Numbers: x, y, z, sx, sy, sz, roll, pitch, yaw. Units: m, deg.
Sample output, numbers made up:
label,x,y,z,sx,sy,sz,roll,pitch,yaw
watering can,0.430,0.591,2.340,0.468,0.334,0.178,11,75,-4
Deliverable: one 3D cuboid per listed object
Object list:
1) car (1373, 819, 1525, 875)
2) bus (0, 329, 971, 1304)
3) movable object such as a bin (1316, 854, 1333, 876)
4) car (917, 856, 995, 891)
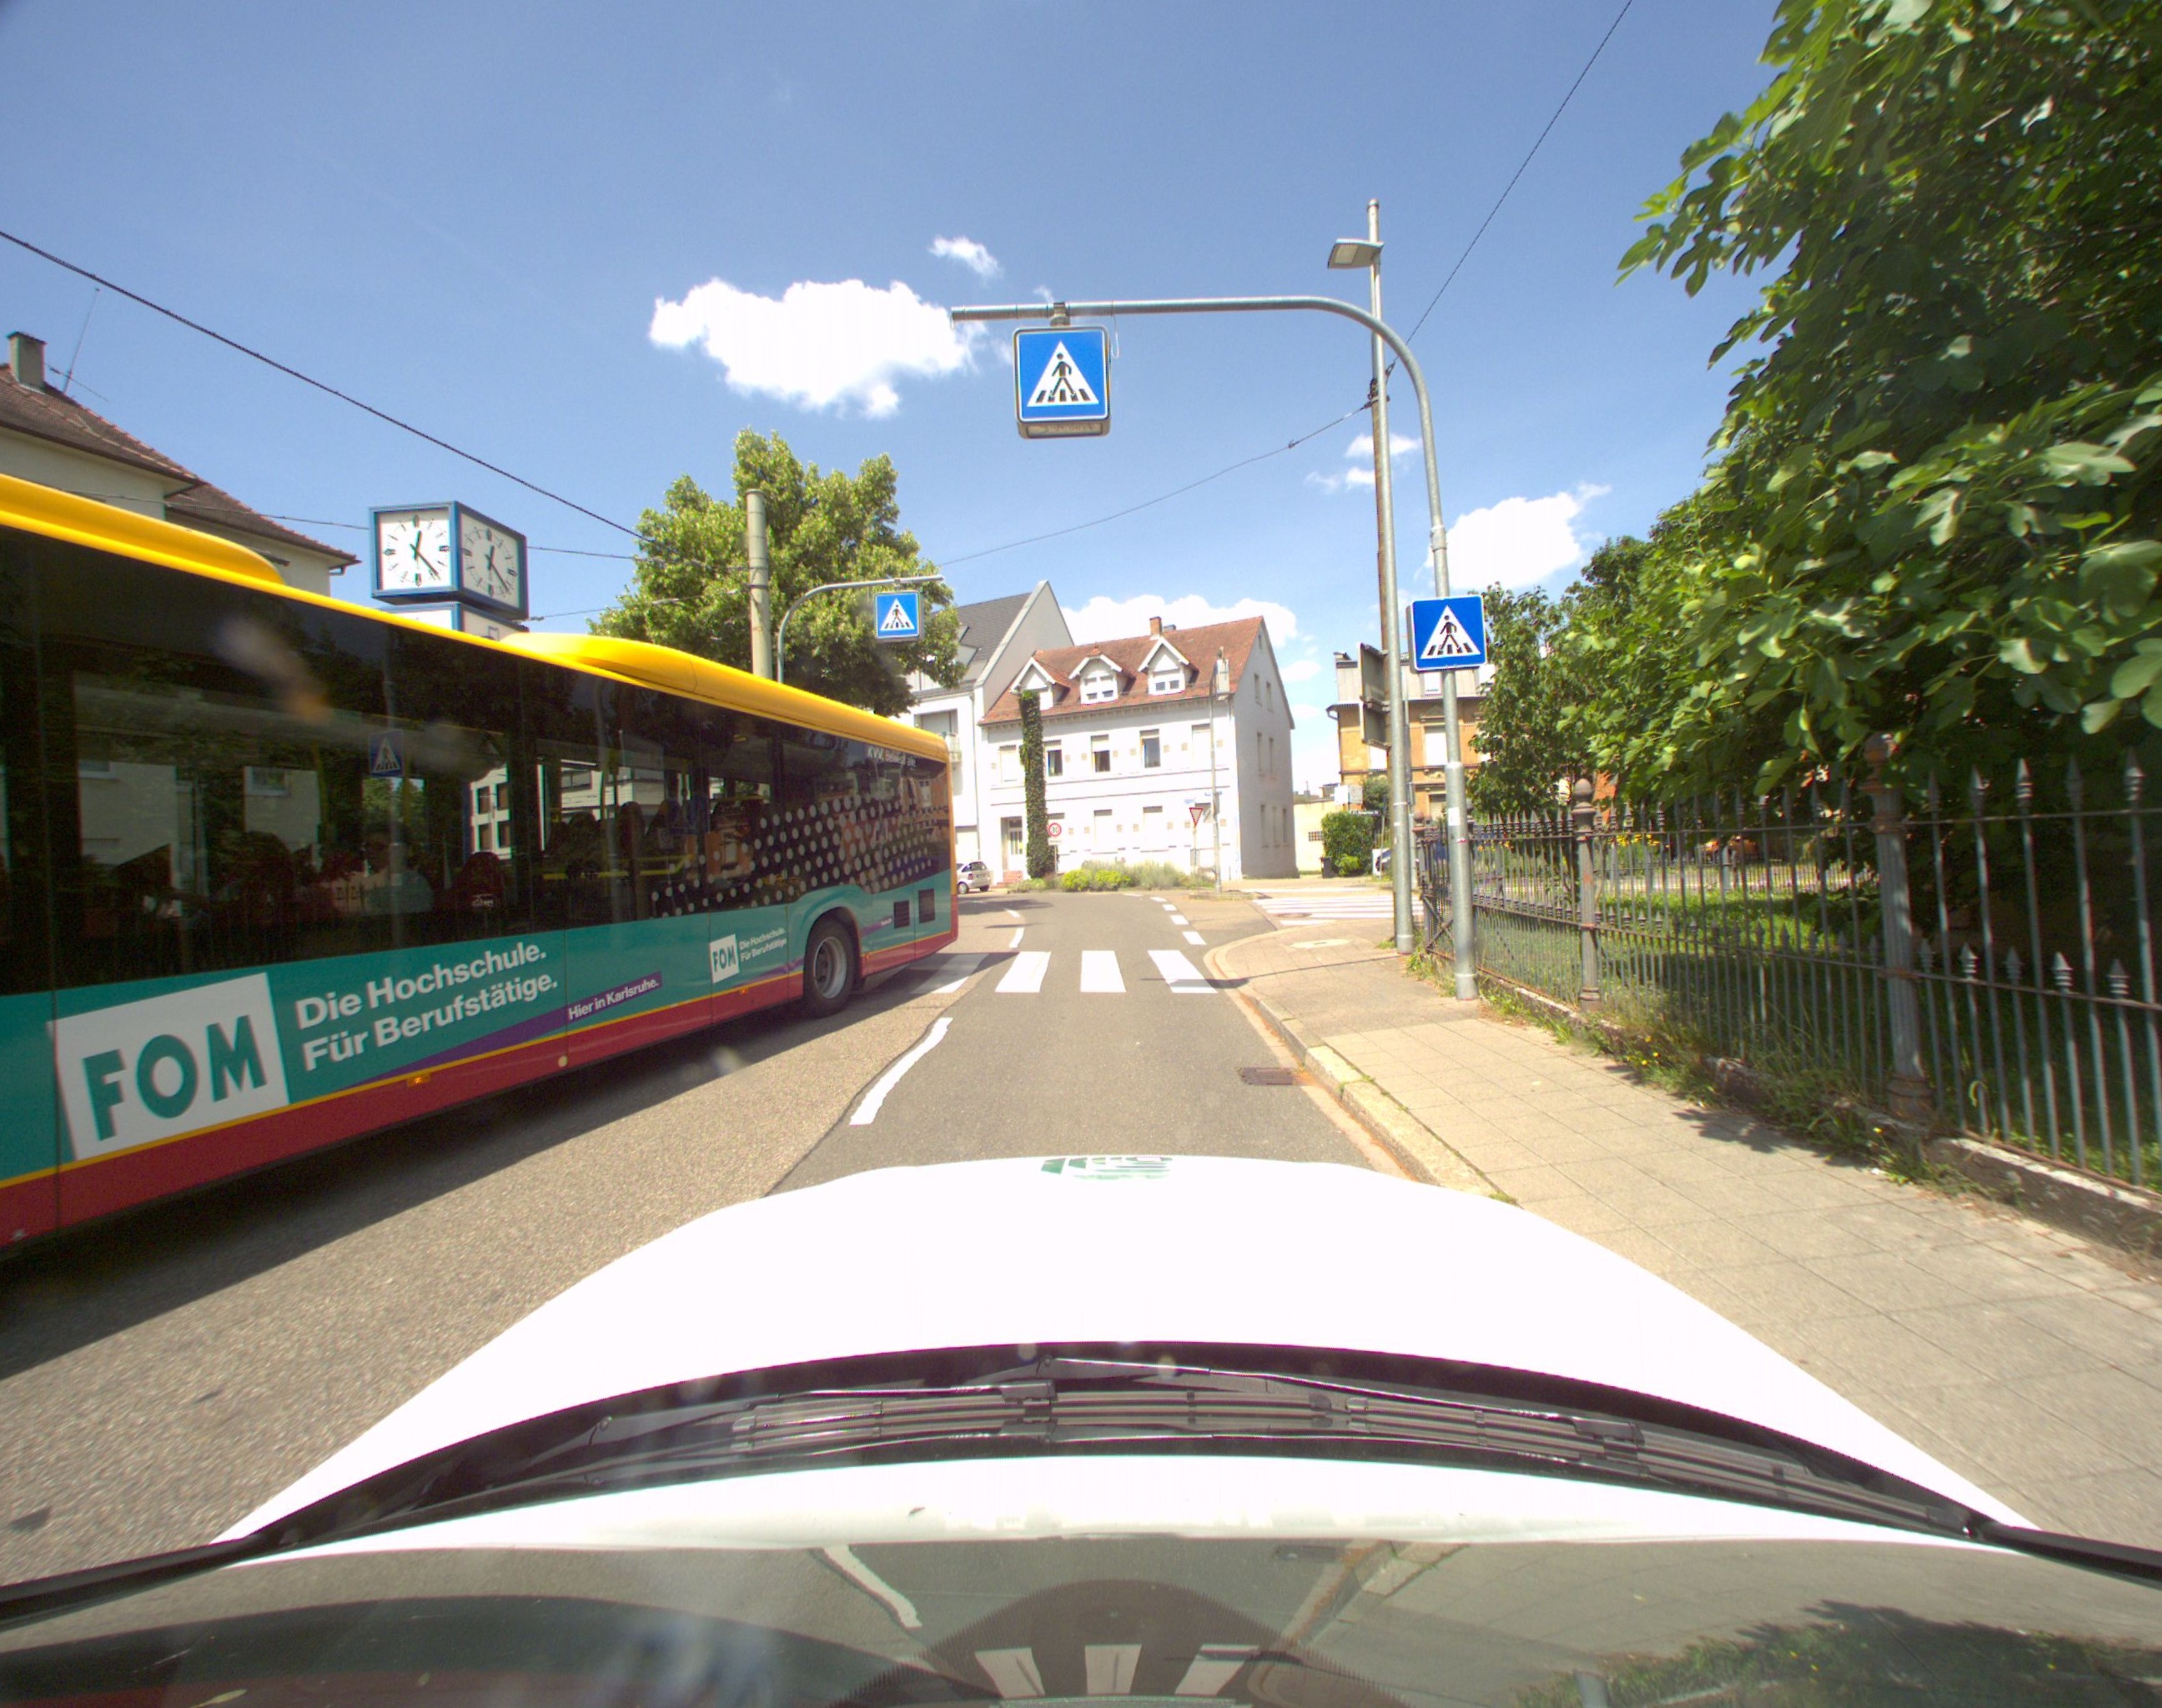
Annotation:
label,x,y,z,sx,sy,sz,roll,pitch,yaw
car,14.757,-0.269,32.947,5.192,1.947,2.090,-3,1,11
bus,-4.307,-0.149,5.472,2.760,3.208,12.352,-1,1,13
movable object such as a bin,10.356,0.476,34.664,0.420,0.916,0.556,0,-2,-22
car,-6.030,0.947,39.227,3.571,1.587,1.594,-1,-2,33
